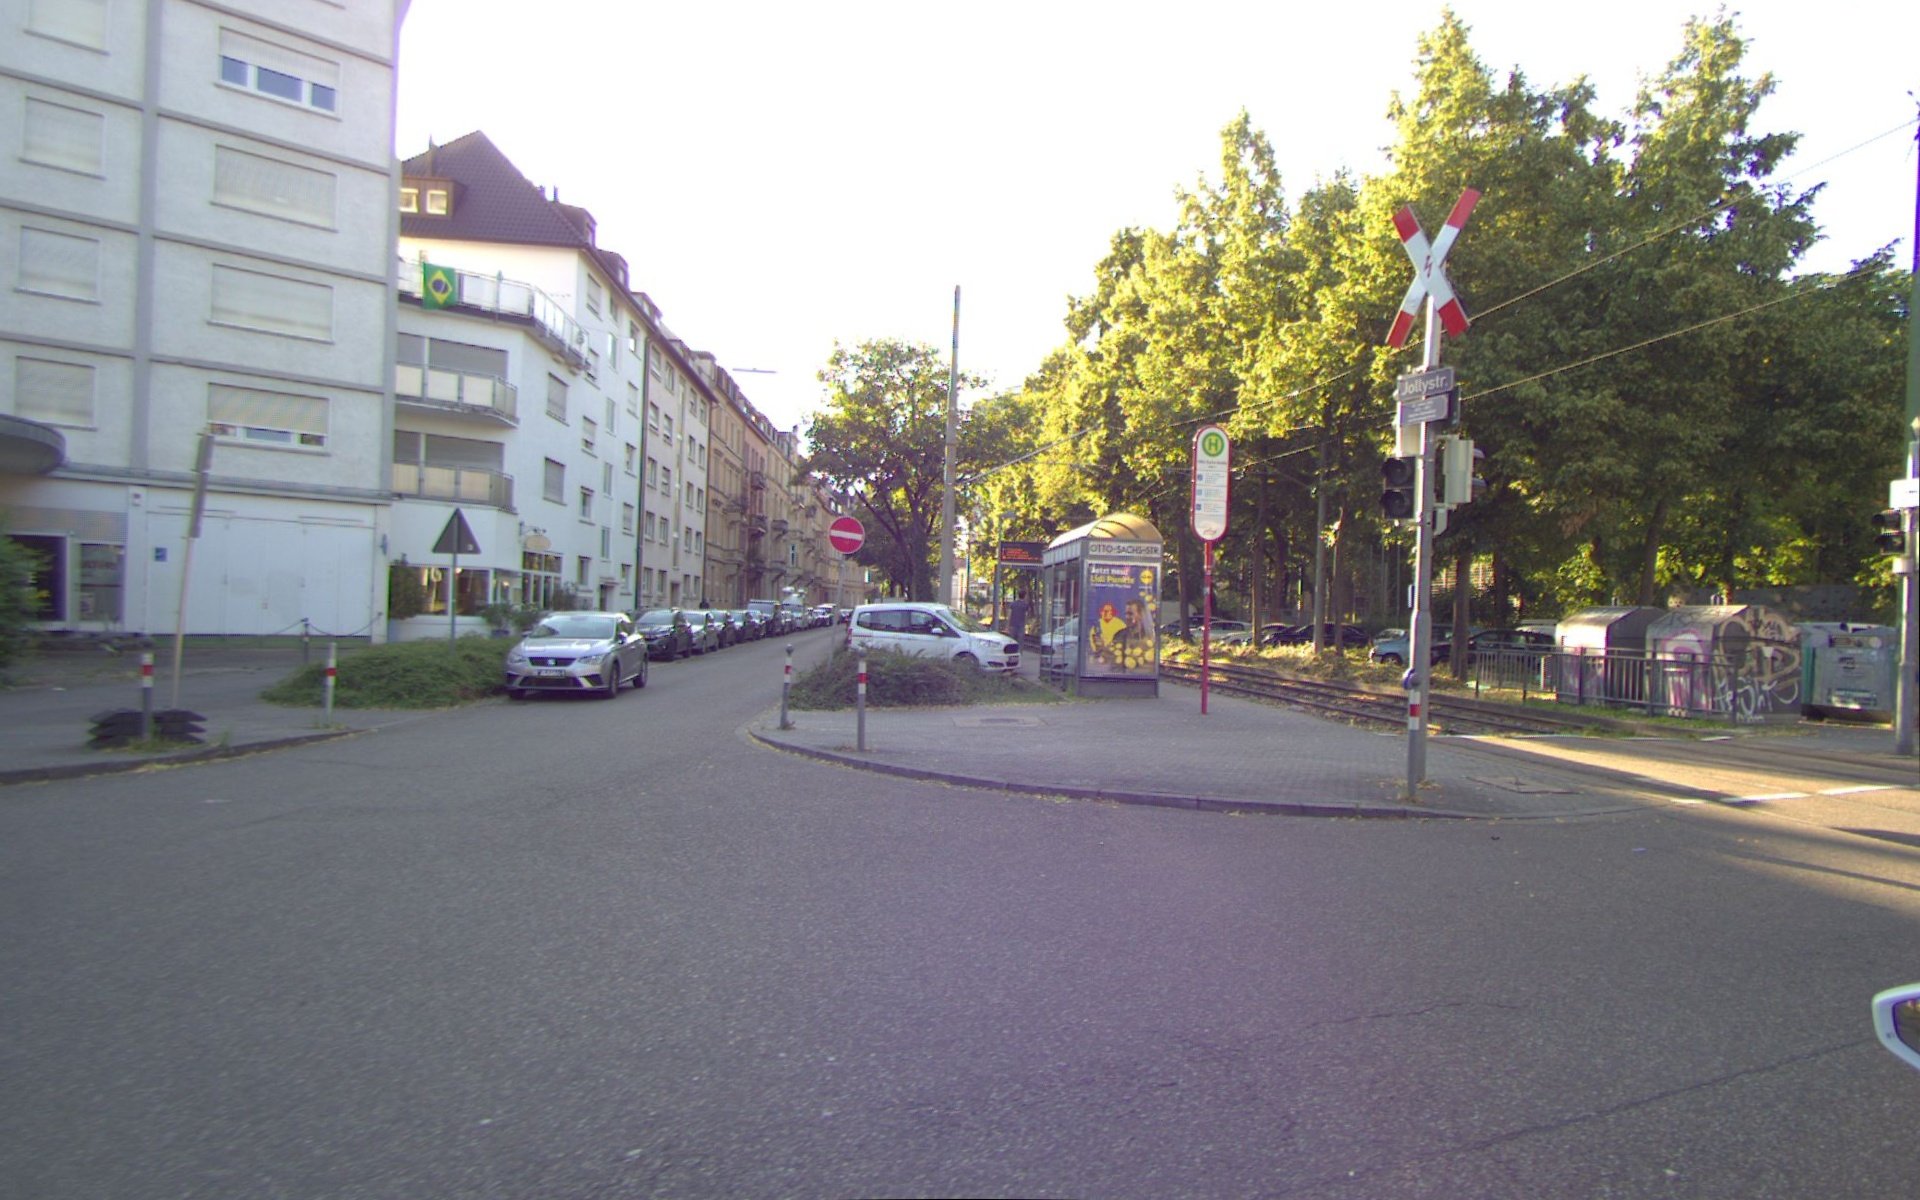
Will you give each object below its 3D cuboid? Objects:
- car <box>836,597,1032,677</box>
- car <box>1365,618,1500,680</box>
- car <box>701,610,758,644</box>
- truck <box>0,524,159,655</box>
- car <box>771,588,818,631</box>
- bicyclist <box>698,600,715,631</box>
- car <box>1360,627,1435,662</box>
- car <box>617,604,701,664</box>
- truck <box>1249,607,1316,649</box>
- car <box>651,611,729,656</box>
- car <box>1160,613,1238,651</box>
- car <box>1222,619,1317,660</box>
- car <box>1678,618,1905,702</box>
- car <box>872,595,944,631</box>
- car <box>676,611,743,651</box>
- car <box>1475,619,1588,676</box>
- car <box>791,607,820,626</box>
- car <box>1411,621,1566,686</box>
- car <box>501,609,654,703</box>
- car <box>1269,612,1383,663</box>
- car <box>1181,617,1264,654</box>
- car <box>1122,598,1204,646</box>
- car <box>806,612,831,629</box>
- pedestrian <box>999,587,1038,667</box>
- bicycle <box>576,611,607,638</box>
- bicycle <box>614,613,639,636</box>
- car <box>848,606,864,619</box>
[{"bbox_3d":[-0.626,0.856,22.850,4.164,1.674,1.605,-2,-1,28],"label":"car"},{"bbox_3d":[14.486,1.475,30.973,3.548,1.583,1.607,4,0,20],"label":"car"},{"bbox_3d":[-10.399,1.190,45.591,1.682,1.465,4.000,1,0,-1],"label":"car"},{"bbox_3d":[-19.508,-0.215,20.425,4.929,2.568,1.978,2,-1,-38],"label":"truck"},{"bbox_3d":[-11.822,0.687,71.982,2.510,2.926,5.480,1,0,-1],"label":"car"},{"bbox_3d":[-13.465,0.809,53.283,0.700,1.638,0.723,2,0,-3],"label":"bicyclist"},{"bbox_3d":[20.306,2.052,46.751,1.547,1.487,3.596,2,-1,-7],"label":"car"},{"bbox_3d":[-9.052,0.987,30.485,1.684,1.695,3.996,1,0,-6],"label":"car"},{"bbox_3d":[19.243,1.656,60.149,2.328,2.383,4.382,2,-1,-3],"label":"truck"},{"bbox_3d":[-9.429,1.141,35.334,1.682,1.465,4.000,1,0,-1],"label":"car"},{"bbox_3d":[12.395,1.668,51.933,3.753,1.607,1.739,4,-1,16],"label":"car"},{"bbox_3d":[13.228,1.697,43.088,3.753,1.409,1.739,4,-1,16],"label":"car"},{"bbox_3d":[22.724,1.577,27.740,1.916,2.030,4.649,2,-1,-12],"label":"car"},{"bbox_3d":[-4.099,0.991,78.925,5.170,2.606,2.271,-2,-1,25],"label":"car"},{"bbox_3d":[-9.797,1.173,39.509,1.682,1.465,4.000,1,0,-1],"label":"car"},{"bbox_3d":[21.139,1.704,37.325,1.548,1.929,3.896,2,-1,-9],"label":"car"},{"bbox_3d":[-11.943,1.262,77.899,1.682,1.465,4.000,1,0,-1],"label":"car"},{"bbox_3d":[14.626,1.446,28.012,3.548,1.466,1.608,4,0,20],"label":"car"},{"bbox_3d":[-6.687,0.911,17.997,1.684,1.465,3.995,1,0,-8],"label":"car"},{"bbox_3d":[13.503,1.393,37.288,3.753,1.516,1.739,4,-1,16],"label":"car"},{"bbox_3d":[12.813,1.742,49.036,3.753,1.440,1.739,4,-1,16],"label":"car"},{"bbox_3d":[12.360,1.349,61.141,4.417,2.508,1.818,4,-1,28],"label":"car"},{"bbox_3d":[-12.263,1.761,87.343,1.683,1.465,3.999,1,0,-2],"label":"car"},{"bbox_3d":[1.483,0.671,25.227,0.833,1.936,0.838,1,0,10],"label":"pedestrian"},{"bbox_3d":[-14.625,0.953,39.909,0.523,1.016,2.175,2,0,-3],"label":"bicycle"},{"bbox_3d":[-15.419,1.138,46.459,0.523,1.016,2.174,2,0,-4],"label":"bicycle"},{"bbox_3d":[-14.792,1.742,142.797,1.682,1.844,4.000,1,0,1],"label":"car"}]
